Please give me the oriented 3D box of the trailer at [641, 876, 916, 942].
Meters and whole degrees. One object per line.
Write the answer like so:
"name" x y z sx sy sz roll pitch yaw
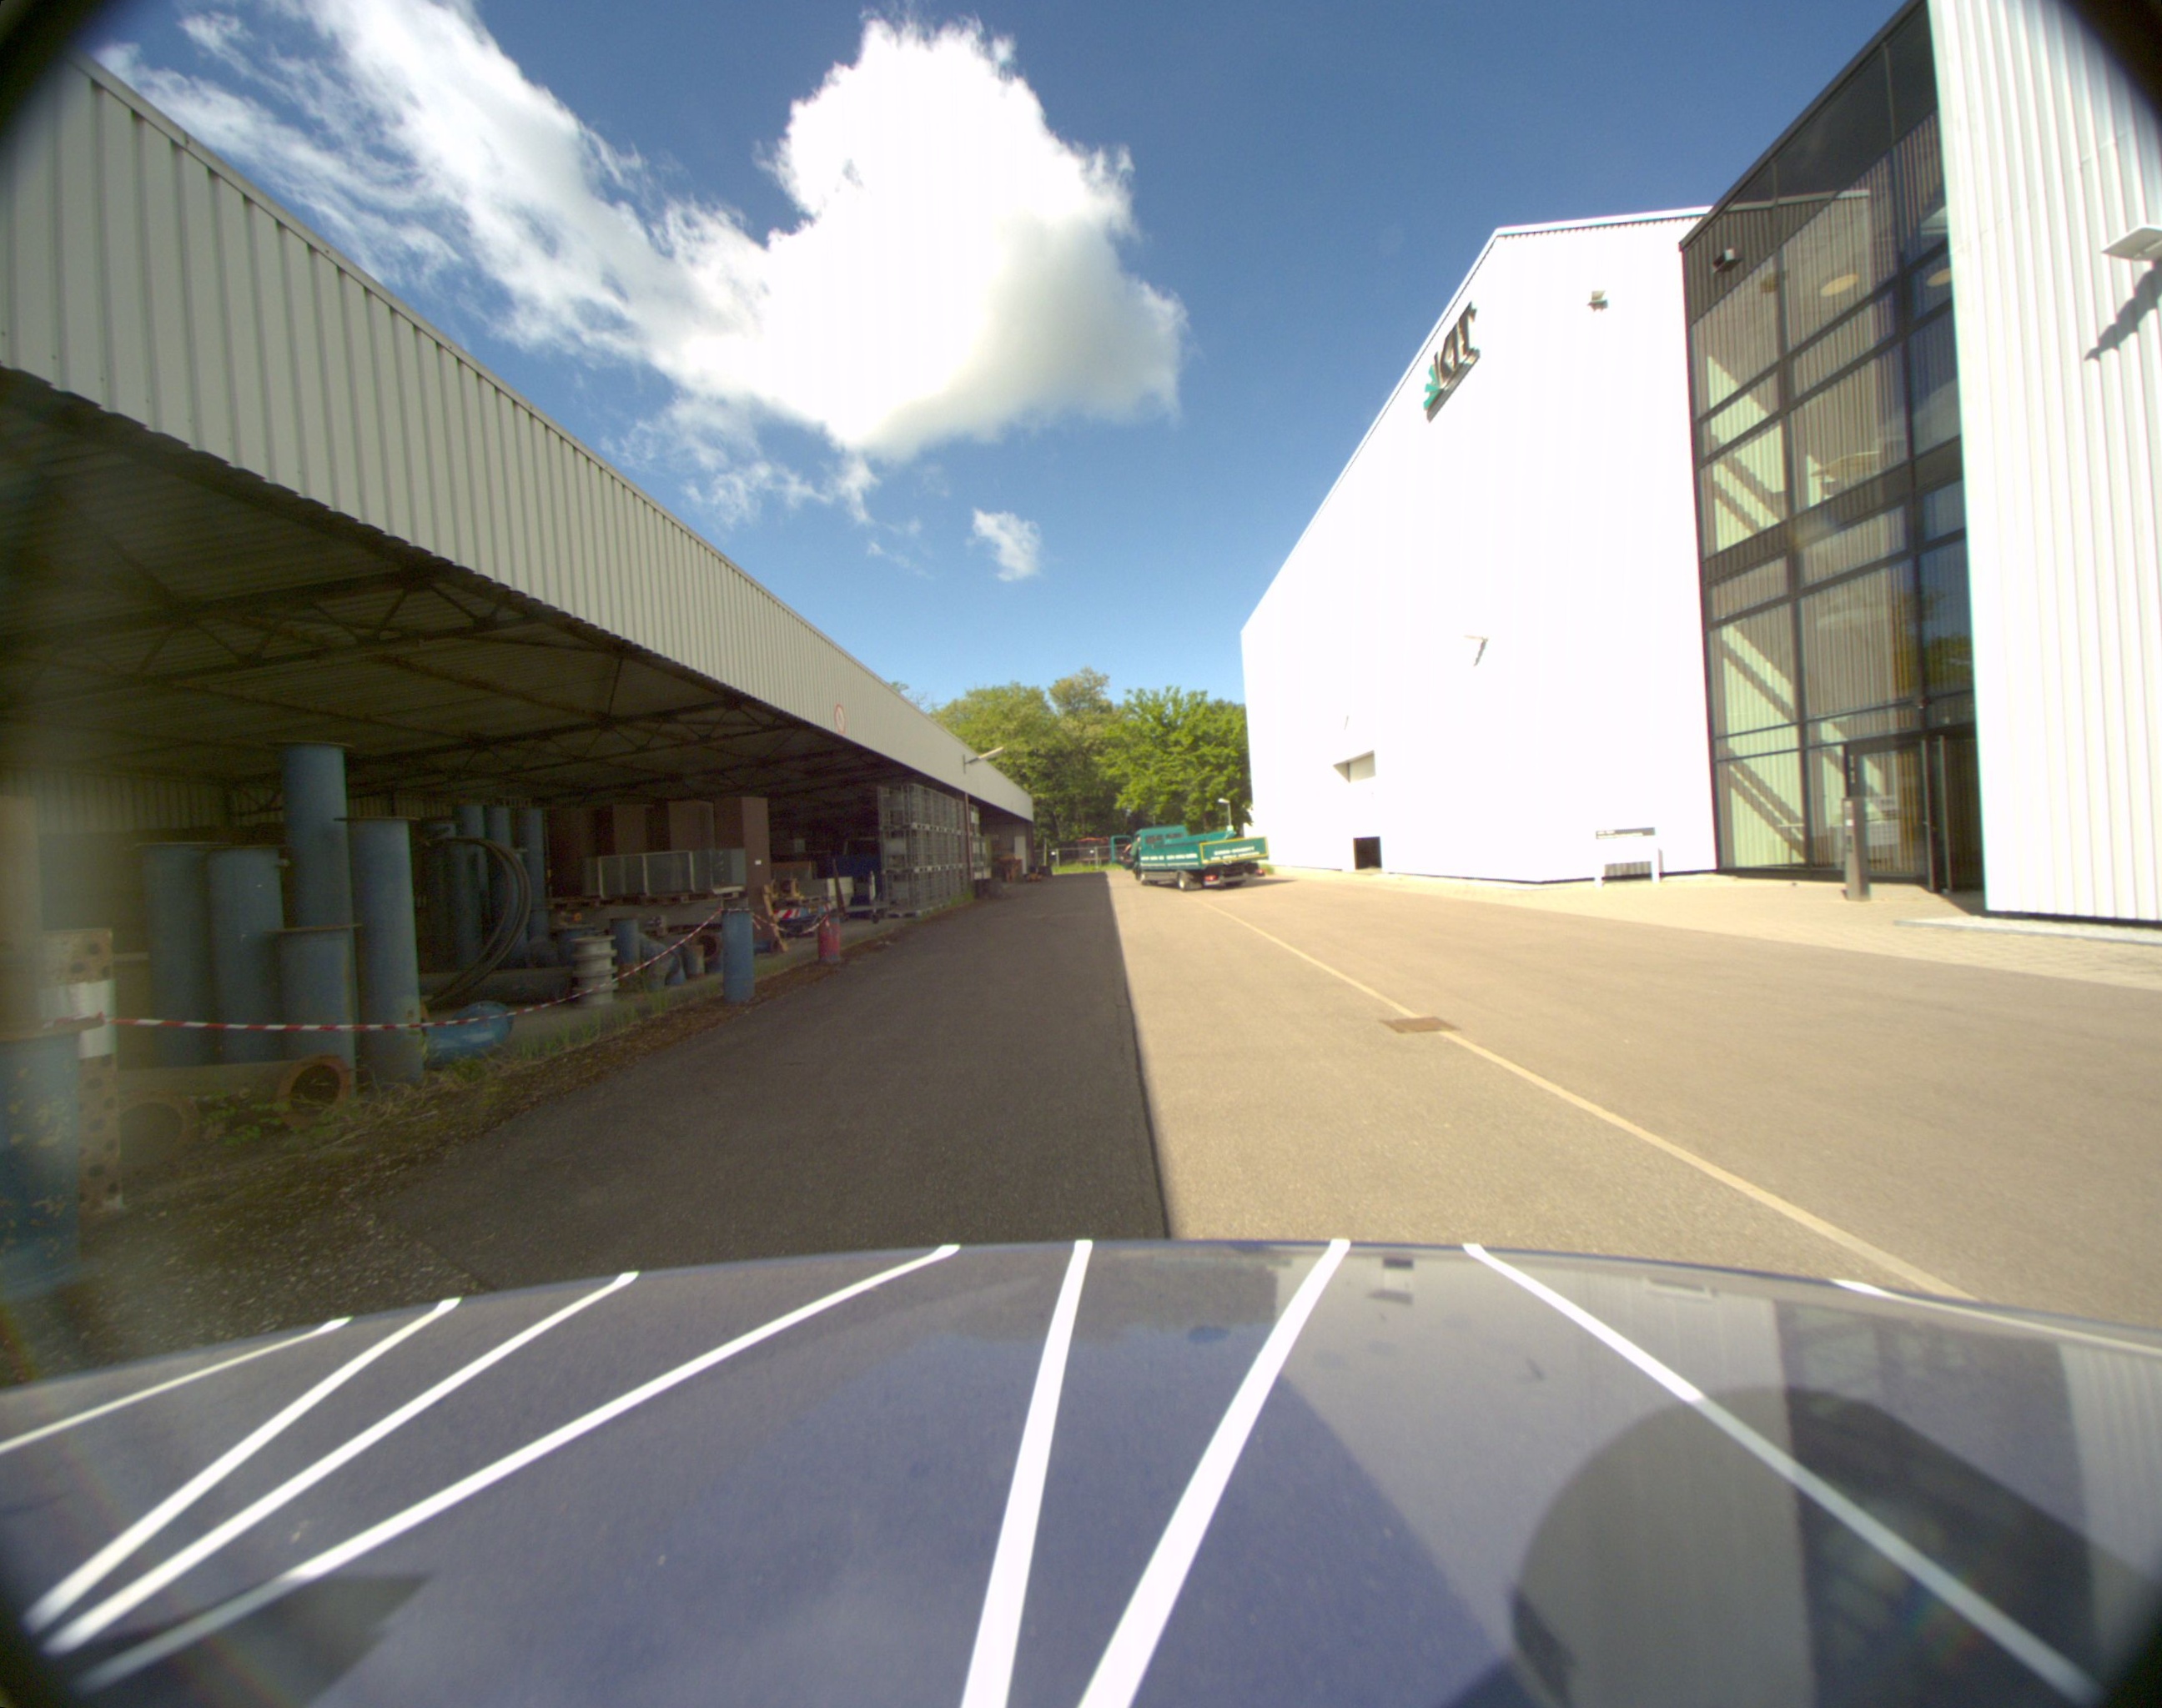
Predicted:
"trailer" -7.080 1.283 18.232 5.748 1.126 2.009 -3 0 0

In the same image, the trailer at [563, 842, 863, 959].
"trailer" -7.042 0.853 14.890 4.828 1.985 2.047 -2 1 4

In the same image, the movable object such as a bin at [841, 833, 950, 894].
"movable object such as a bin" -8.867 0.452 36.606 4.626 2.706 2.000 -2 -1 0

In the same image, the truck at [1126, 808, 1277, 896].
"truck" 4.364 0.002 30.392 2.589 2.701 9.687 -6 0 -11

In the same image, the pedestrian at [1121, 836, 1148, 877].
"pedestrian" 2.417 0.109 34.172 0.892 1.792 1.041 -1 1 23
